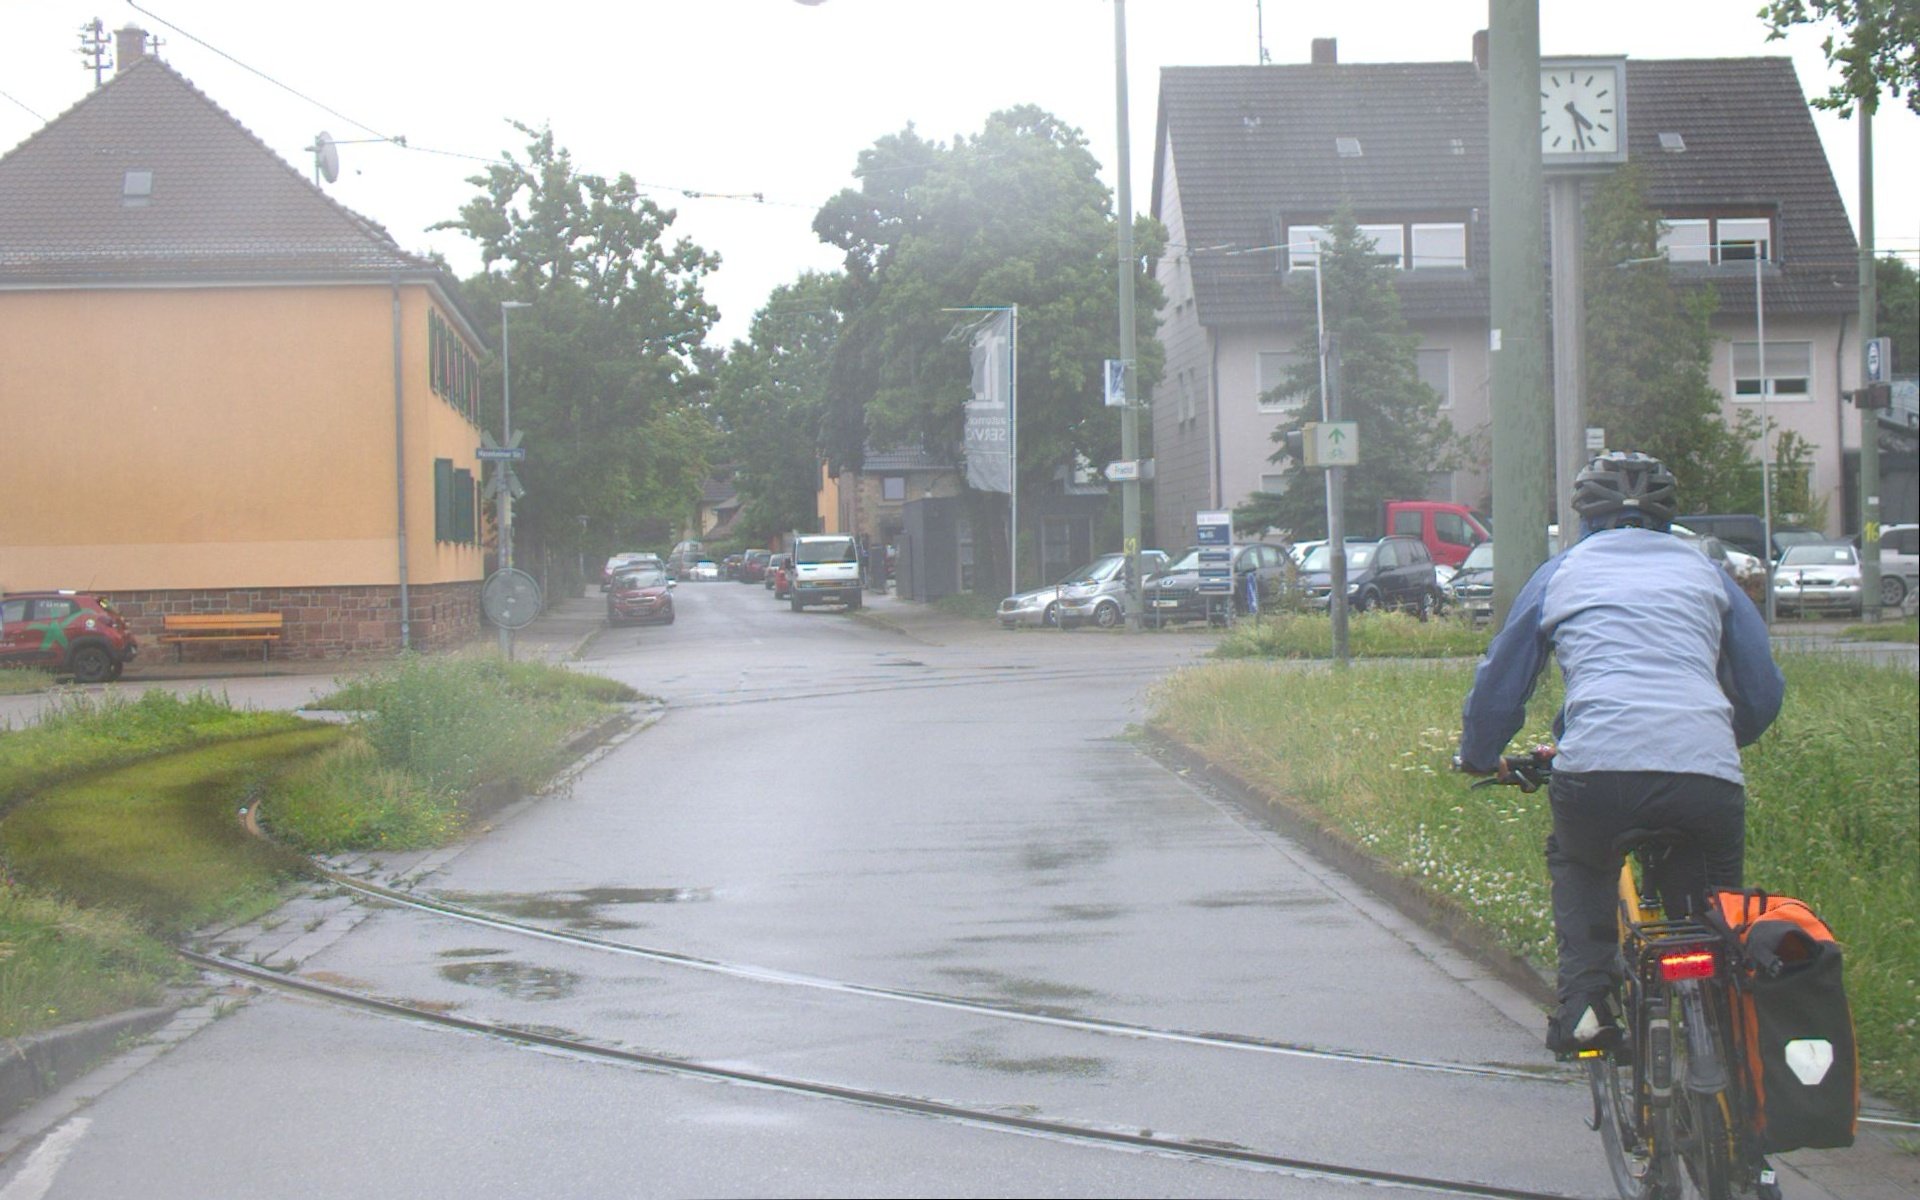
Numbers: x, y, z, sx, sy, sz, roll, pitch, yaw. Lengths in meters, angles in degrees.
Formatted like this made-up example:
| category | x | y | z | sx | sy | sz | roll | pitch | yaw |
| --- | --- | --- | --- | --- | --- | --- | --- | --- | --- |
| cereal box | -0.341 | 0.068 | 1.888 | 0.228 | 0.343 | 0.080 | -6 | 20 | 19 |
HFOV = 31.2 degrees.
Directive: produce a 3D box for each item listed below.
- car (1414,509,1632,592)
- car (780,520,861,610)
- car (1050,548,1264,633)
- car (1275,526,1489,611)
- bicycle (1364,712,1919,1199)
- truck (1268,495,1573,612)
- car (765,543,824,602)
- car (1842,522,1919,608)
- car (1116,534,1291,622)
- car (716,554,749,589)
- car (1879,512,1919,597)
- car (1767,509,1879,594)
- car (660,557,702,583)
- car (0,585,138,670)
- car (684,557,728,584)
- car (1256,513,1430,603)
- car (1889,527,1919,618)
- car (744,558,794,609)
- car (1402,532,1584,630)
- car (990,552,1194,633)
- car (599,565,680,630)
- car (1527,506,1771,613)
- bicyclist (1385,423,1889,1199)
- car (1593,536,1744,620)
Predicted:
| category | x | y | z | sx | sy | sz | roll | pitch | yaw |
| --- | --- | --- | --- | --- | --- | --- | --- | --- | --- |
| car | 12.404 | -1.082 | 75.929 | 4.432 | 1.682 | 2.000 | -1 | 0 | 0 |
| car | -4.115 | -1.027 | 100.983 | 2.153 | 2.564 | 4.134 | 1 | 1 | -5 |
| car | 3.972 | -0.195 | 69.267 | 3.858 | 1.573 | 1.808 | -2 | 1 | -22 |
| car | 8.548 | -0.629 | 69.518 | 3.969 | 1.592 | 1.998 | -2 | 0 | 17 |
| bicycle | 1.309 | 0.810 | 6.703 | 0.752 | 1.069 | 1.927 | -2 | 1 | -1 |
| truck | 9.714 | -0.956 | 72.554 | 6.088 | 2.264 | 1.998 | -2 | 0 | 17 |
| car | -5.780 | -0.970 | 119.866 | 1.993 | 2.007 | 4.001 | 1 | 1 | -3 |
| car | 20.148 | -0.728 | 68.948 | 4.432 | 1.682 | 1.760 | -1 | 0 | 0 |
| car | 4.703 | -0.437 | 65.970 | 1.805 | 1.573 | 3.865 | -2 | 1 | 30 |
| car | -13.453 | -1.701 | 203.327 | 1.828 | 2.007 | 4.001 | 1 | 1 | -5 |
| car | 18.717 | -0.882 | 64.515 | 1.802 | 1.573 | 3.872 | -2 | 1 | -1 |
| car | 16.084 | -0.895 | 64.195 | 1.828 | 1.499 | 4.056 | 1 | 1 | 12 |
| car | -18.428 | -2.007 | 226.863 | 1.828 | 1.691 | 4.033 | 1 | 1 | -19 |
| car | -15.355 | 0.431 | 56.010 | 3.604 | 1.334 | 1.723 | 1 | 0 | -5 |
| car | -16.378 | -1.925 | 221.513 | 1.828 | 1.691 | 4.033 | 1 | 1 | -19 |
| car | 7.204 | -0.803 | 64.382 | 1.805 | 1.573 | 3.865 | -2 | 1 | 30 |
| car | 17.622 | -0.440 | 57.602 | 3.631 | 1.499 | 1.723 | 1 | 0 | 0 |
| car | -7.719 | -0.675 | 138.768 | 1.828 | 2.007 | 4.001 | 1 | 1 | -5 |
| car | 9.966 | -0.365 | 64.043 | 1.997 | 1.711 | 3.993 | -2 | 0 | 30 |
| car | 2.785 | -0.163 | 72.543 | 3.858 | 1.573 | 1.808 | -2 | 1 | -22 |
| car | -8.268 | -0.062 | 88.865 | 1.993 | 1.612 | 4.001 | -1 | 0 | -5 |
| car | 13.778 | -0.793 | 68.917 | 4.432 | 2.007 | 2.000 | -1 | 0 | 0 |
| bicyclist | 1.289 | 0.428 | 6.695 | 0.751 | 1.480 | 0.846 | -2 | 0 | -1 |
| car | 13.266 | -0.410 | 64.212 | 1.830 | 1.499 | 4.053 | 1 | 1 | 26 |
